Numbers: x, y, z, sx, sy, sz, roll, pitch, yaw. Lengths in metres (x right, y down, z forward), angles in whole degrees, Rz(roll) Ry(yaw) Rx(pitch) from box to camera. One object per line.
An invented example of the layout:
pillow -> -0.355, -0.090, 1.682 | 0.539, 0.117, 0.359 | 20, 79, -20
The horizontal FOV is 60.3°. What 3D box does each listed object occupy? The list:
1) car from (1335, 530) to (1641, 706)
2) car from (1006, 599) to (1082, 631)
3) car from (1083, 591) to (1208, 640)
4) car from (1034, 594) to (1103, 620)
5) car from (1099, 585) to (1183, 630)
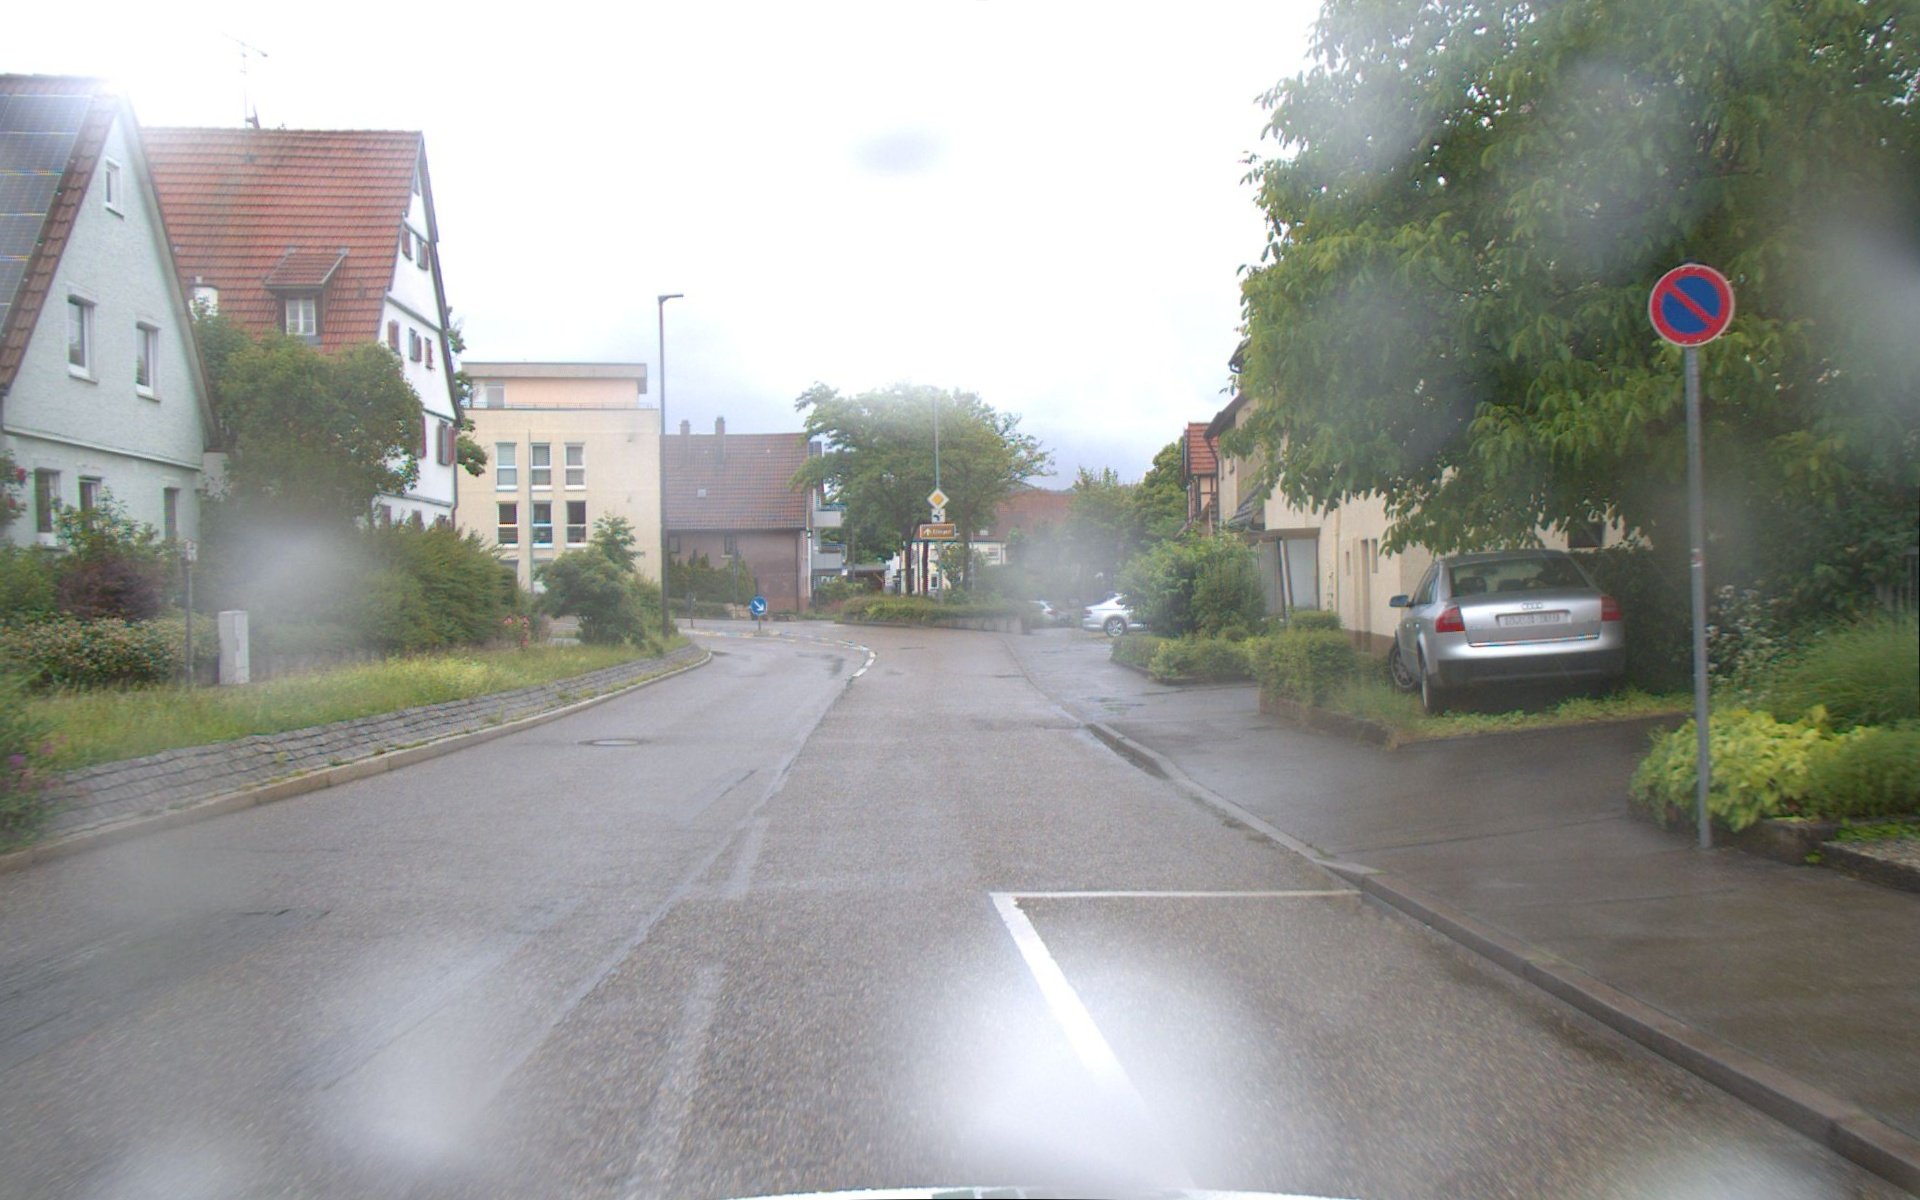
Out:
car -> 4.886, 0.145, 15.826 | 1.605, 1.455, 3.675 | -1, 0, -2
car -> 4.611, 0.828, 90.553 | 3.901, 1.654, 2.002 | -1, 0, 11
car -> 6.012, 0.497, 53.408 | 3.869, 1.433, 2.002 | -2, 0, 9
car -> 6.282, 0.402, 95.872 | 3.902, 1.444, 2.001 | -1, 0, 5
car -> 6.479, 0.272, 59.109 | 2.848, 1.550, 1.392 | -1, 0, 12
